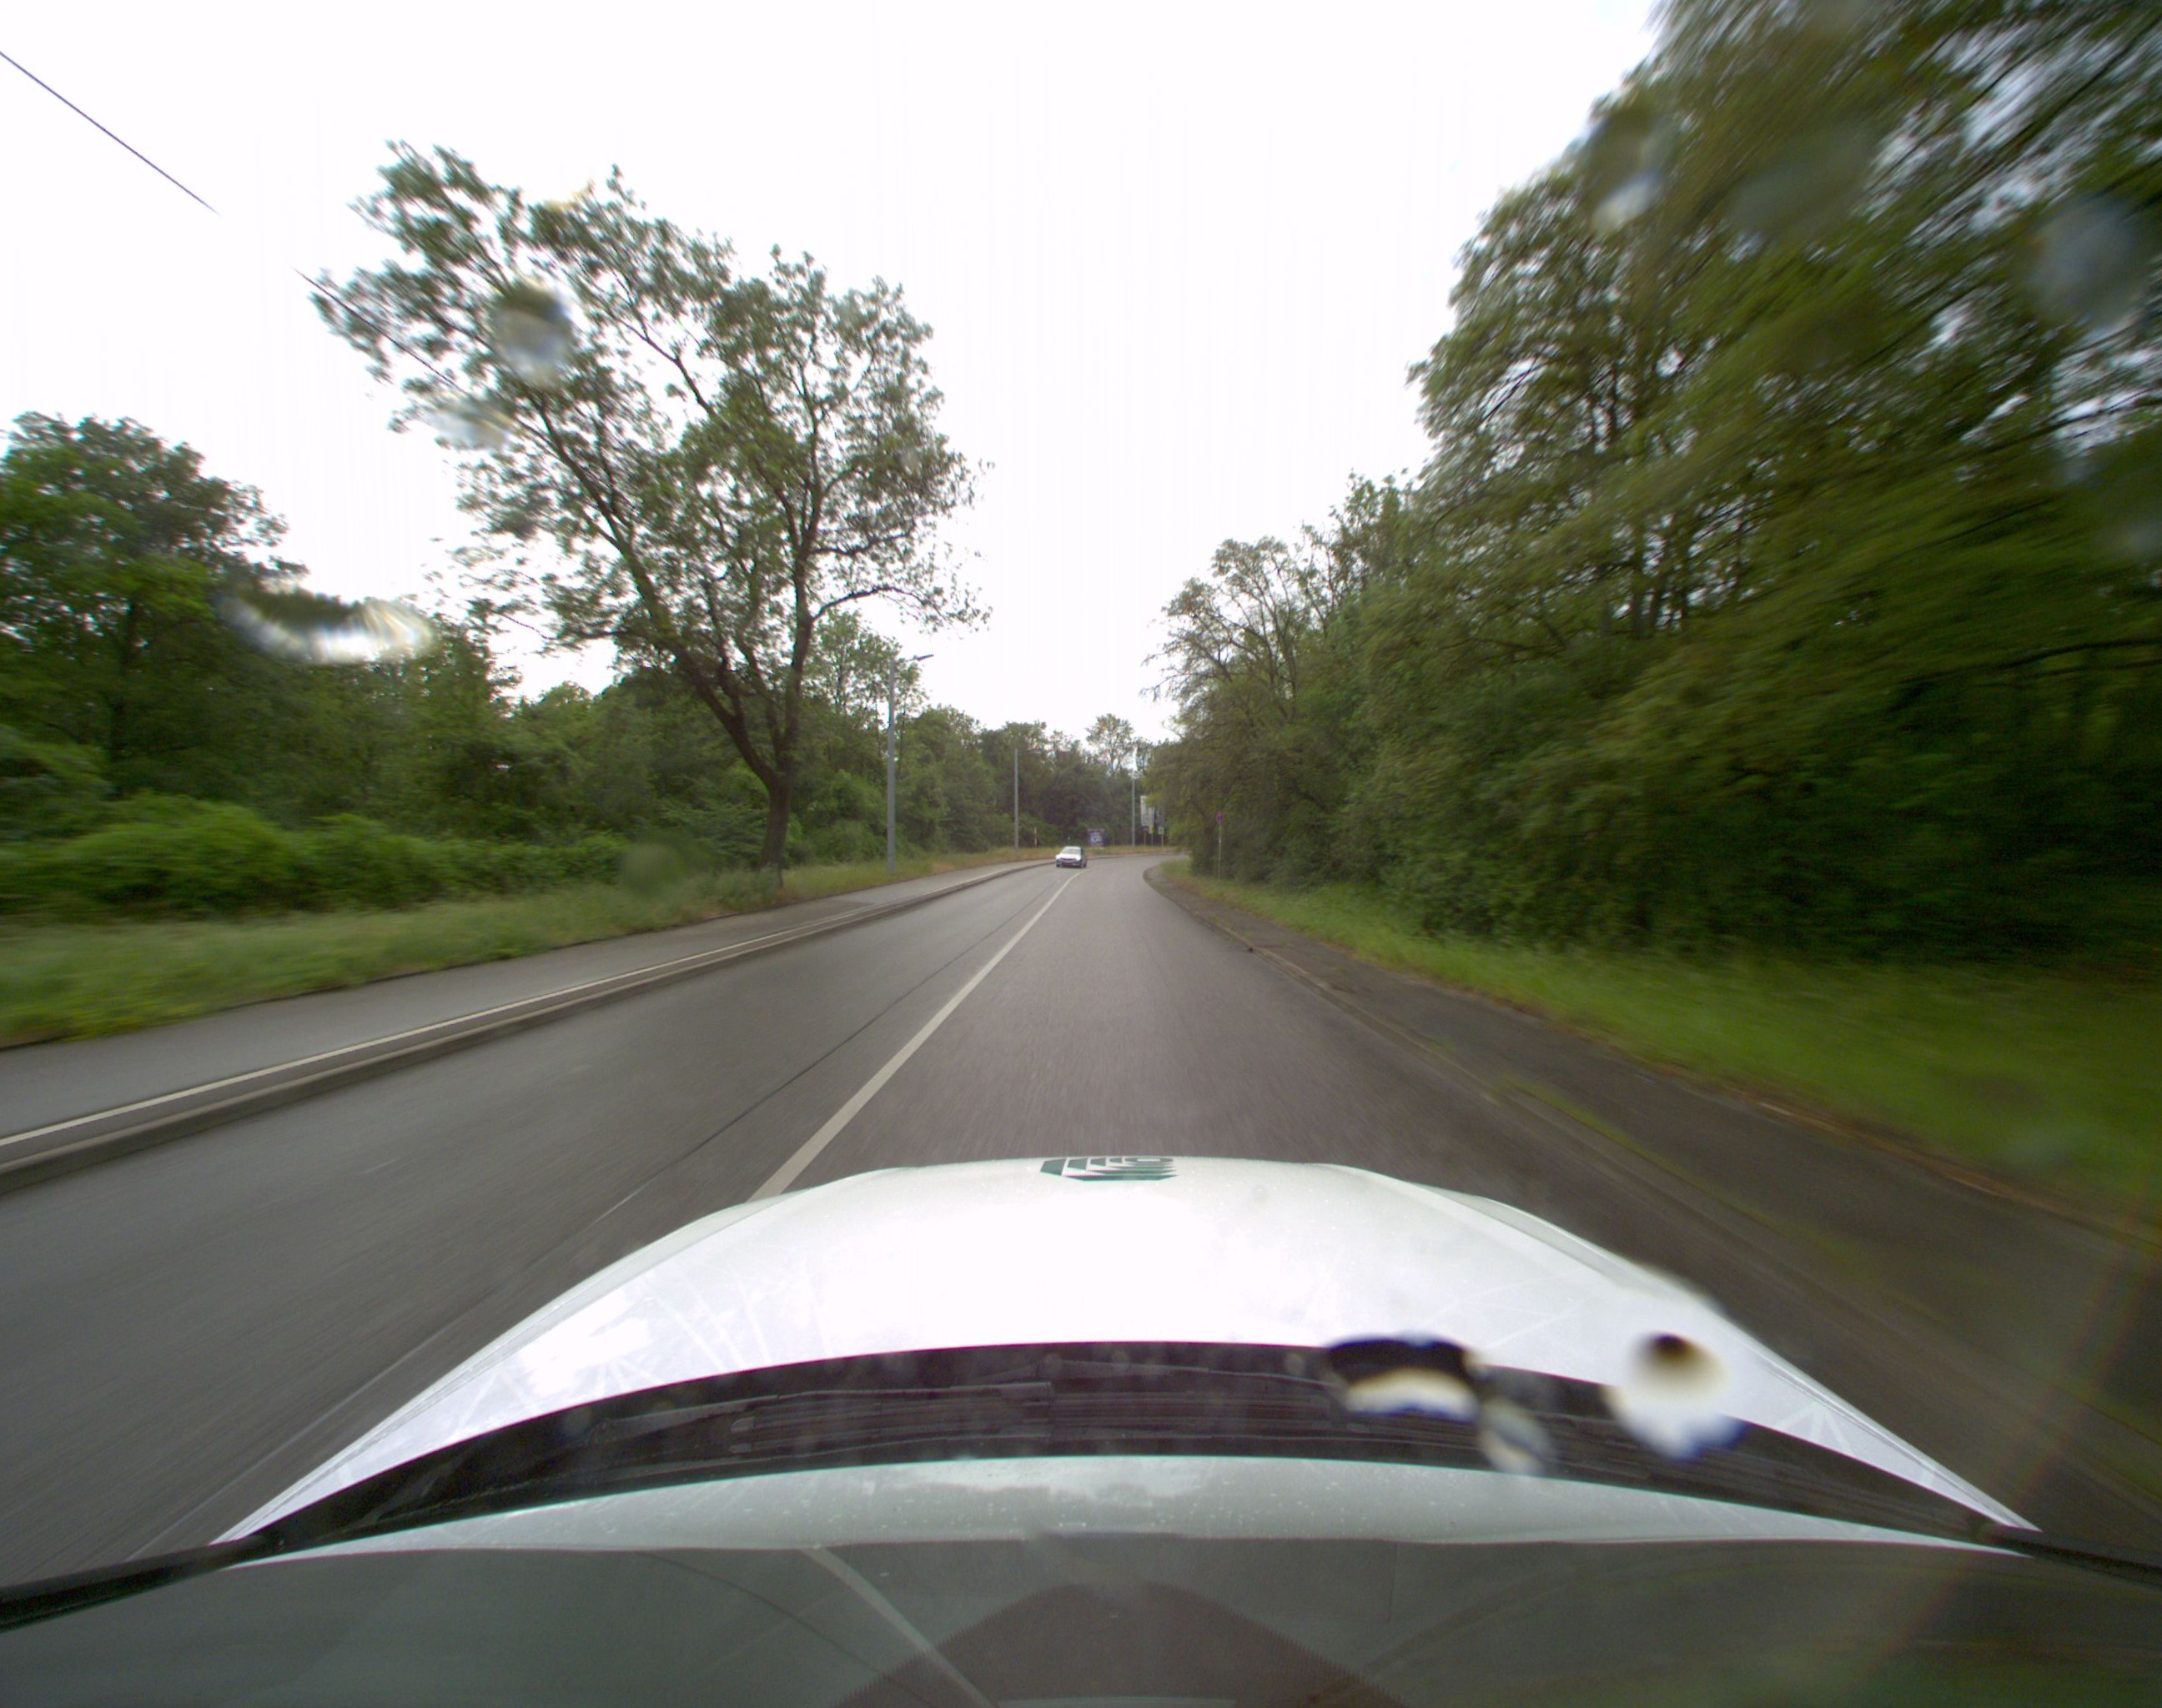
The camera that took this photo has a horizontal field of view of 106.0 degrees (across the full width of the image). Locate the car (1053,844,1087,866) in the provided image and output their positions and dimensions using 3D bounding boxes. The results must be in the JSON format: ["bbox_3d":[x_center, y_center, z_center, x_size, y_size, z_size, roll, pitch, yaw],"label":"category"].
[{"bbox_3d":[-0.725,0.025,58.958,1.770,1.430,4.484,3,1,7],"label":"car"}]
